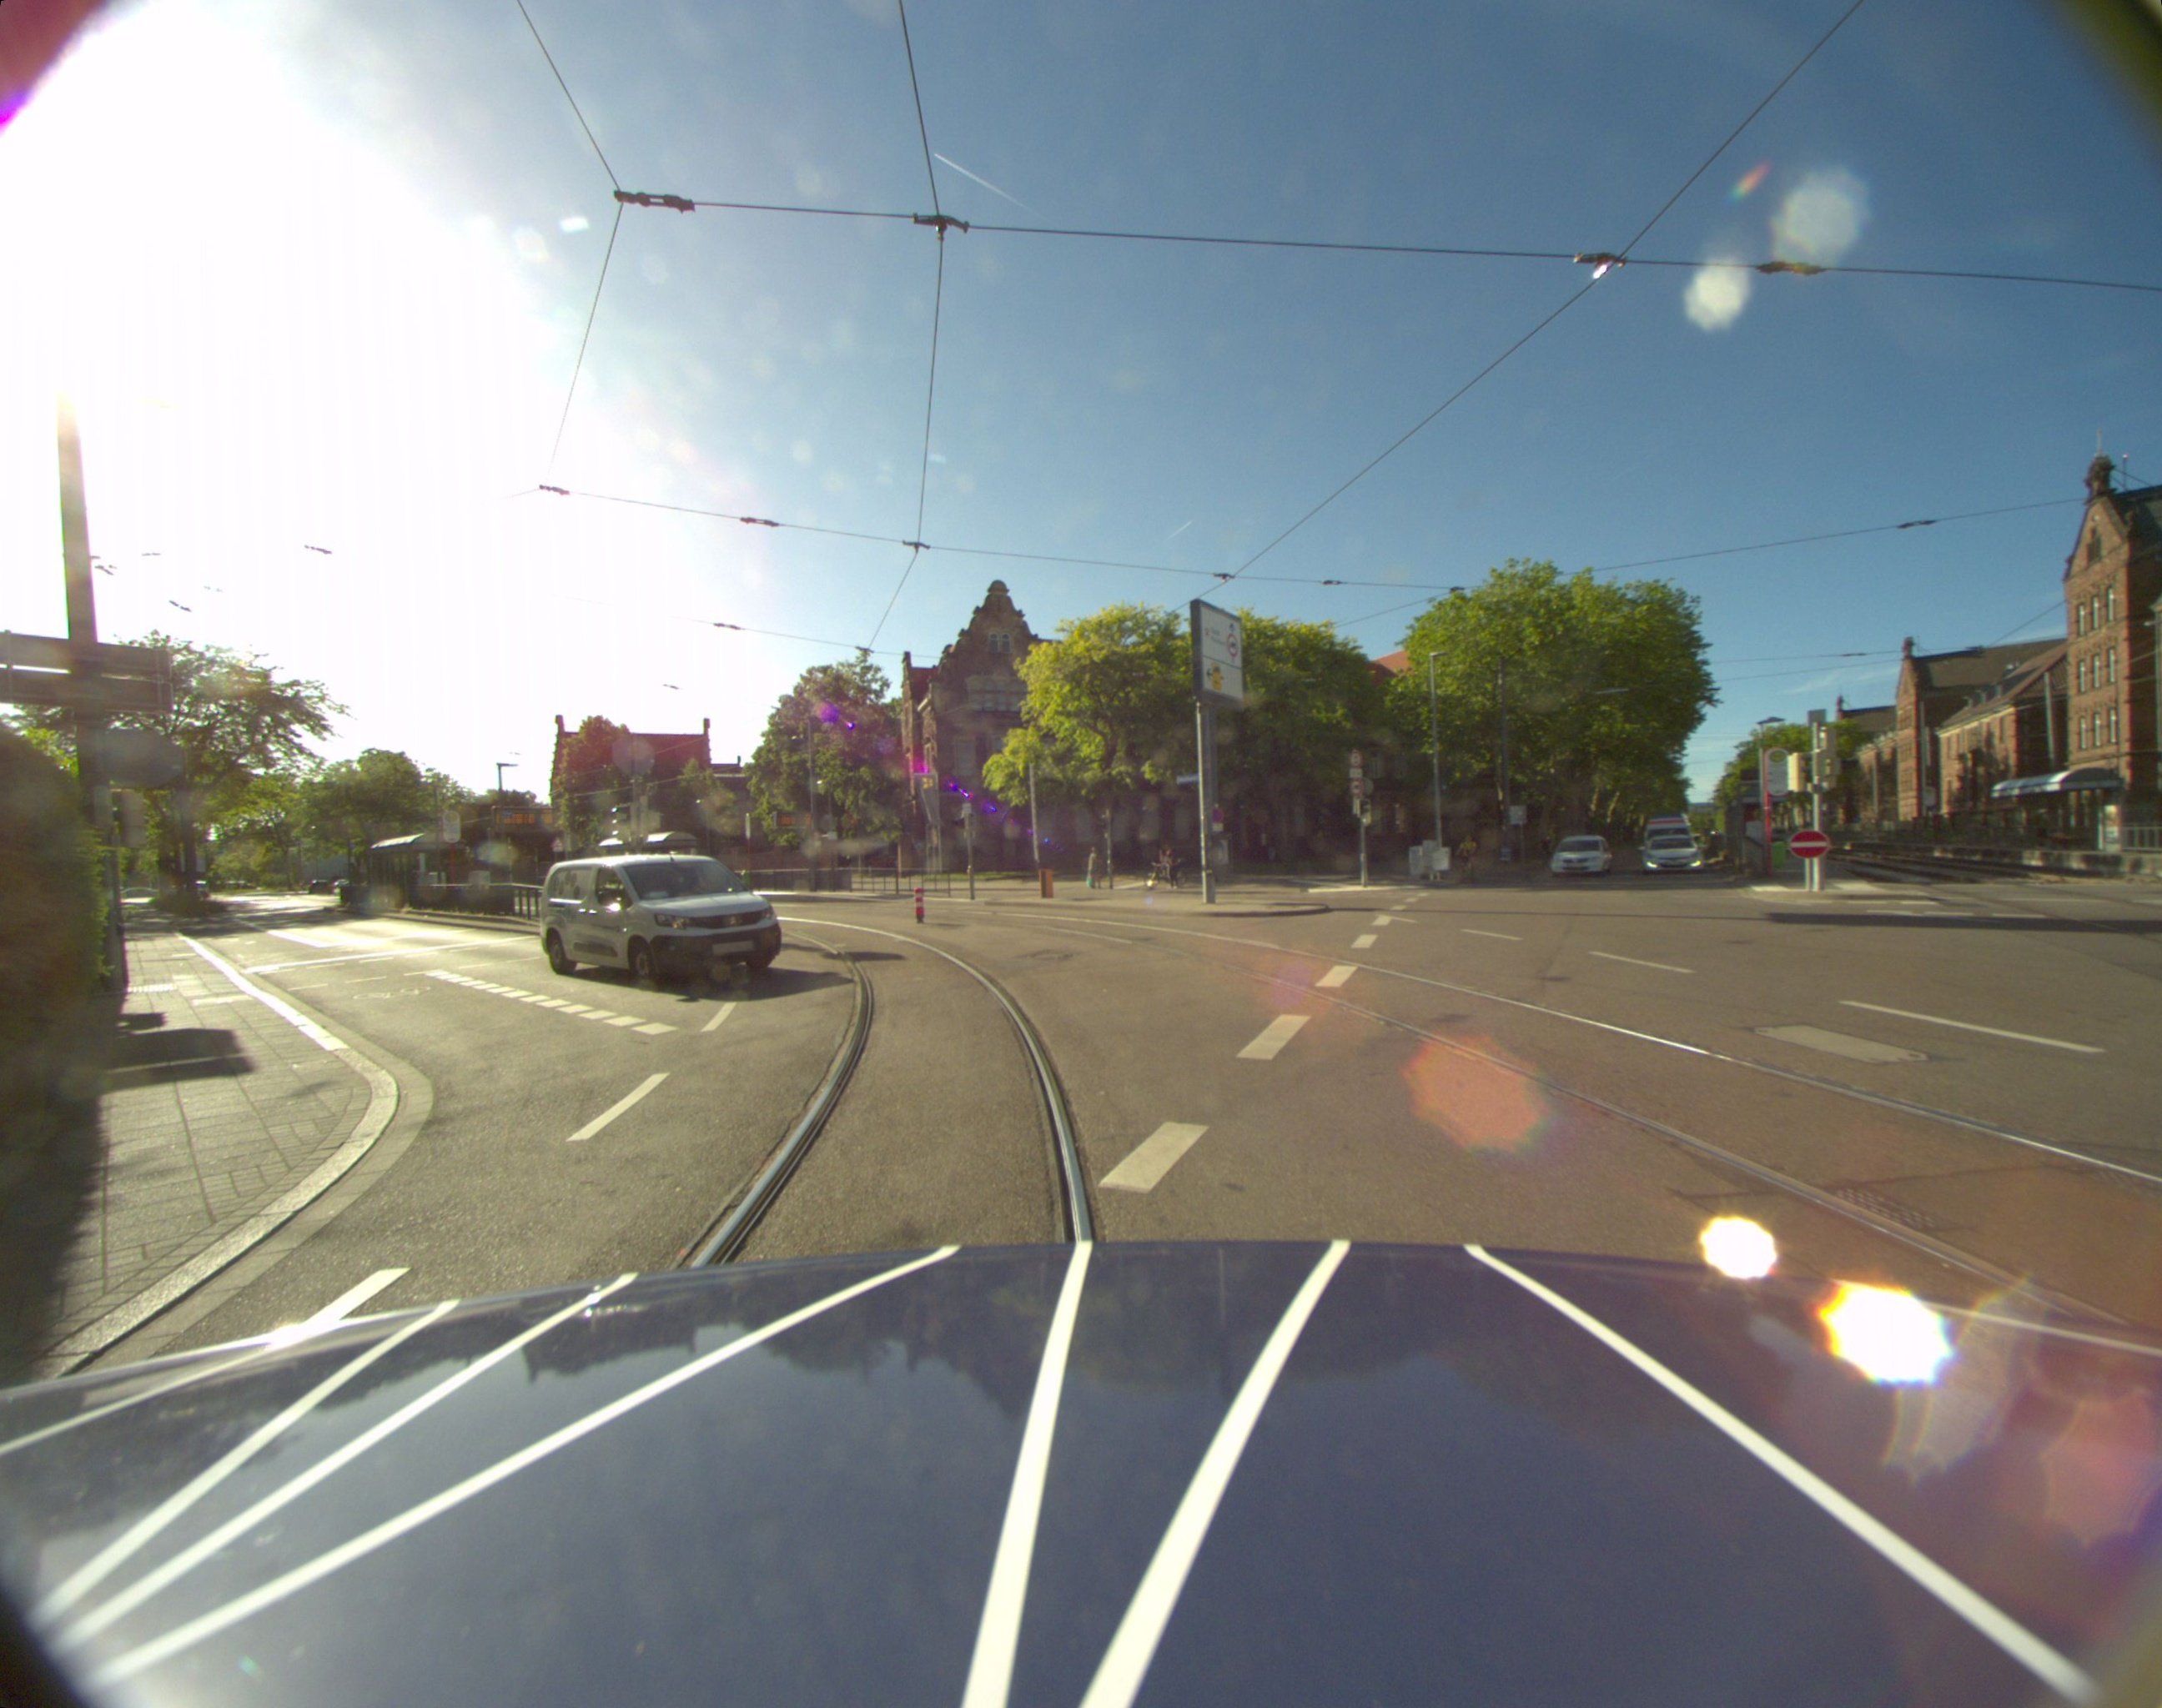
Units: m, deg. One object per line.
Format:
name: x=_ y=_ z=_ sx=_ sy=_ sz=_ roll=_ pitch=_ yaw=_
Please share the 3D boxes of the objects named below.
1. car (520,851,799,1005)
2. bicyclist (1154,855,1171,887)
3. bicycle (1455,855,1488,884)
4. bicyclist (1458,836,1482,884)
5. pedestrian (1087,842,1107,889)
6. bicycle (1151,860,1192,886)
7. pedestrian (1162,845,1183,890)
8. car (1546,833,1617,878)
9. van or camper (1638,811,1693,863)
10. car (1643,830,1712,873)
car: x=-6.485 y=0.940 z=11.480 sx=4.684 sy=1.789 sz=1.861 roll=-1 pitch=3 yaw=38
bicyclist: x=3.320 y=0.673 z=30.897 sx=0.618 sy=1.277 sz=0.479 roll=-2 pitch=1 yaw=10
bicycle: x=14.275 y=0.556 z=27.747 sx=0.689 sy=1.027 sz=2.104 roll=-1 pitch=-1 yaw=39
bicyclist: x=14.106 y=0.209 z=27.537 sx=0.668 sy=1.719 sz=0.624 roll=0 pitch=-1 yaw=38
pedestrian: x=0.677 y=0.494 z=32.184 sx=0.697 sy=1.944 sz=0.486 roll=-2 pitch=1 yaw=18
bicycle: x=3.677 y=0.789 z=30.929 sx=1.591 sy=0.991 sz=0.479 roll=-2 pitch=1 yaw=9
pedestrian: x=3.576 y=0.513 z=29.587 sx=0.668 sy=1.737 sz=0.486 roll=-2 pitch=1 yaw=18
car: x=19.908 y=0.030 z=30.136 sx=1.907 sy=1.608 sz=4.581 roll=-2 pitch=-1 yaw=39
van or camper: x=28.763 y=-0.770 z=37.322 sx=1.994 sy=2.347 sz=5.610 roll=-1 pitch=-1 yaw=39
car: x=23.160 y=-0.087 z=29.451 sx=1.980 sy=1.539 sz=4.043 roll=-1 pitch=0 yaw=40
